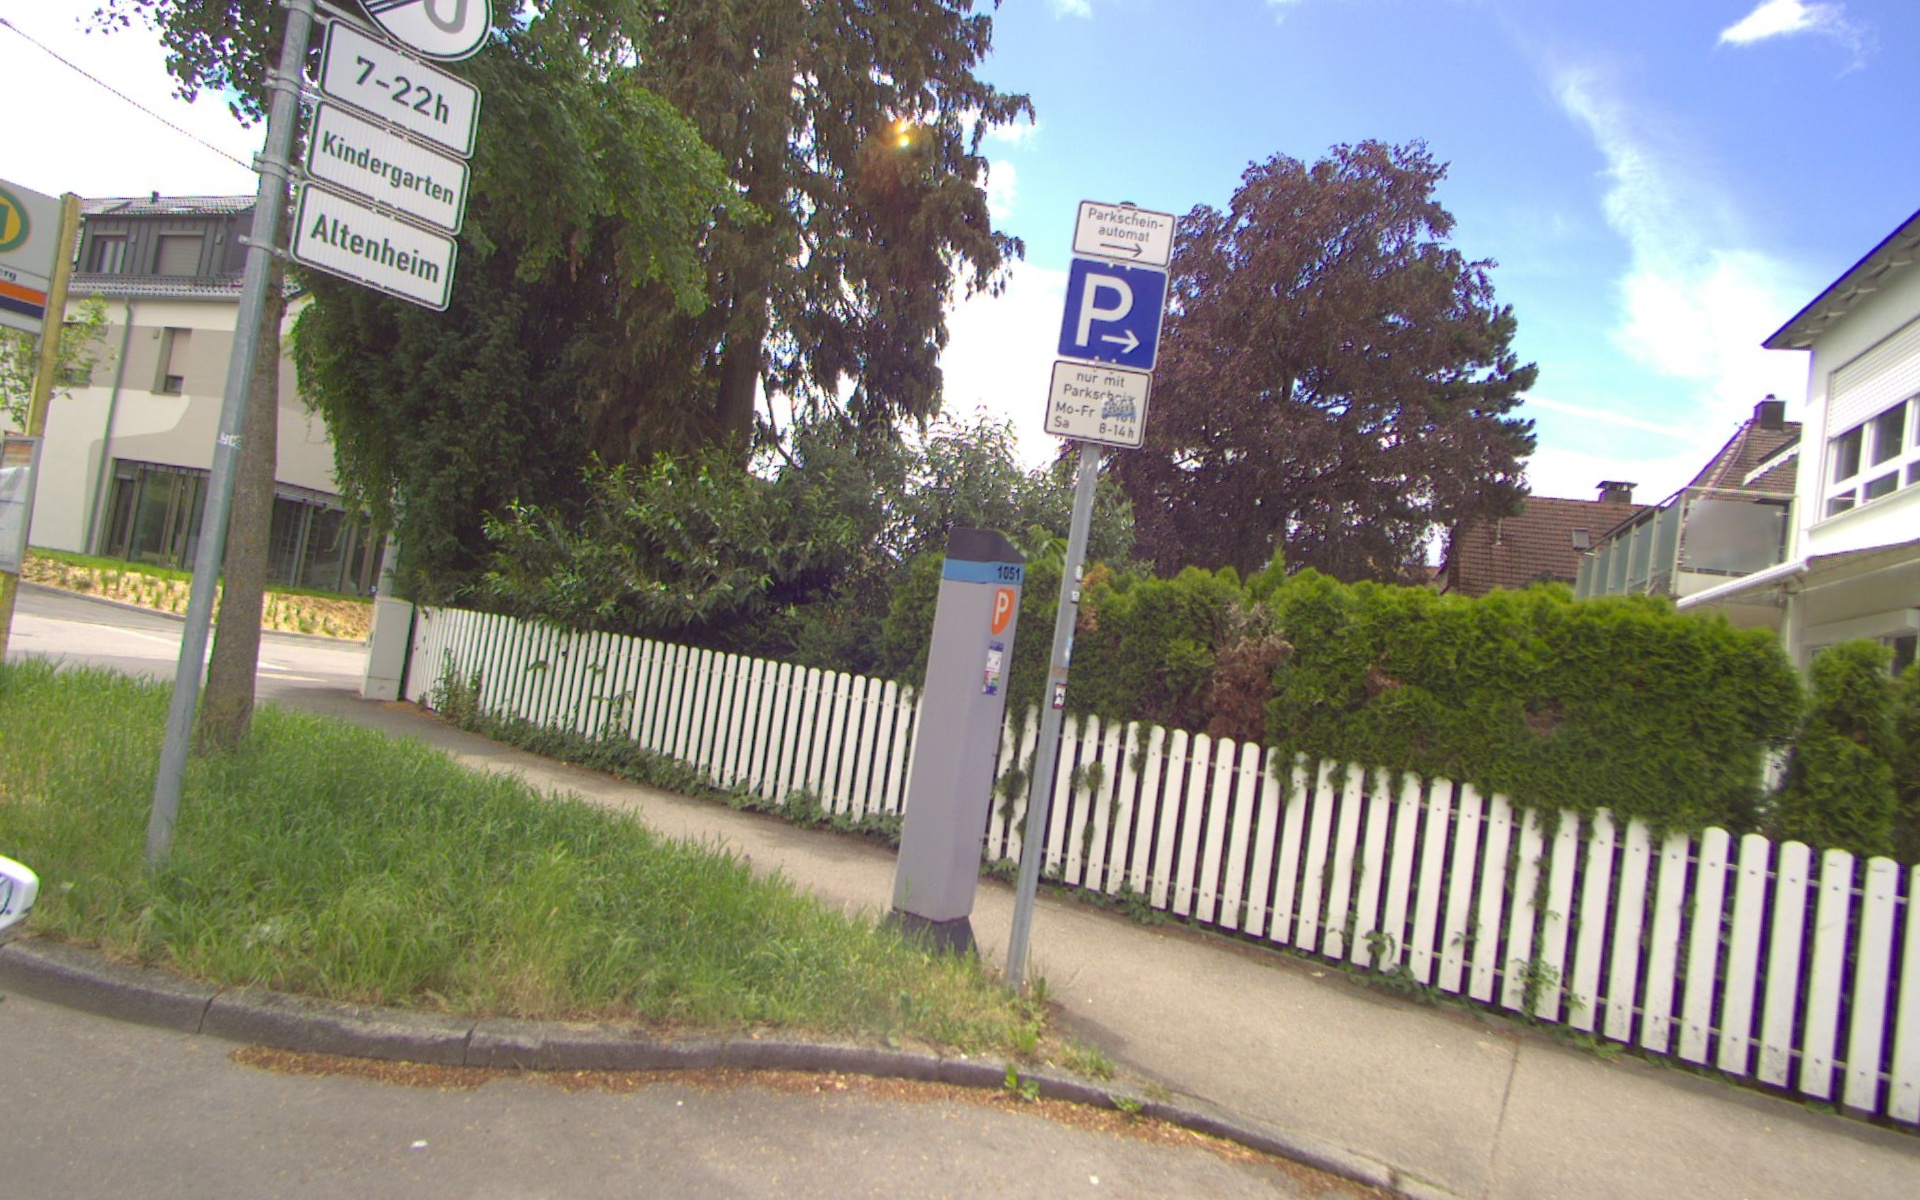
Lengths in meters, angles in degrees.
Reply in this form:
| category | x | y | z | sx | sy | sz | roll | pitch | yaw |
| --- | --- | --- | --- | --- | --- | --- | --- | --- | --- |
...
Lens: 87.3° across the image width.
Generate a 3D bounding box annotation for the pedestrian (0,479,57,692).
| category | x | y | z | sx | sy | sz | roll | pitch | yaw |
| --- | --- | --- | --- | --- | --- | --- | --- | --- | --- |
| pedestrian | -8.091 | -0.187 | 8.031 | 0.843 | 1.661 | 0.884 | 6 | -5 | 33 |
